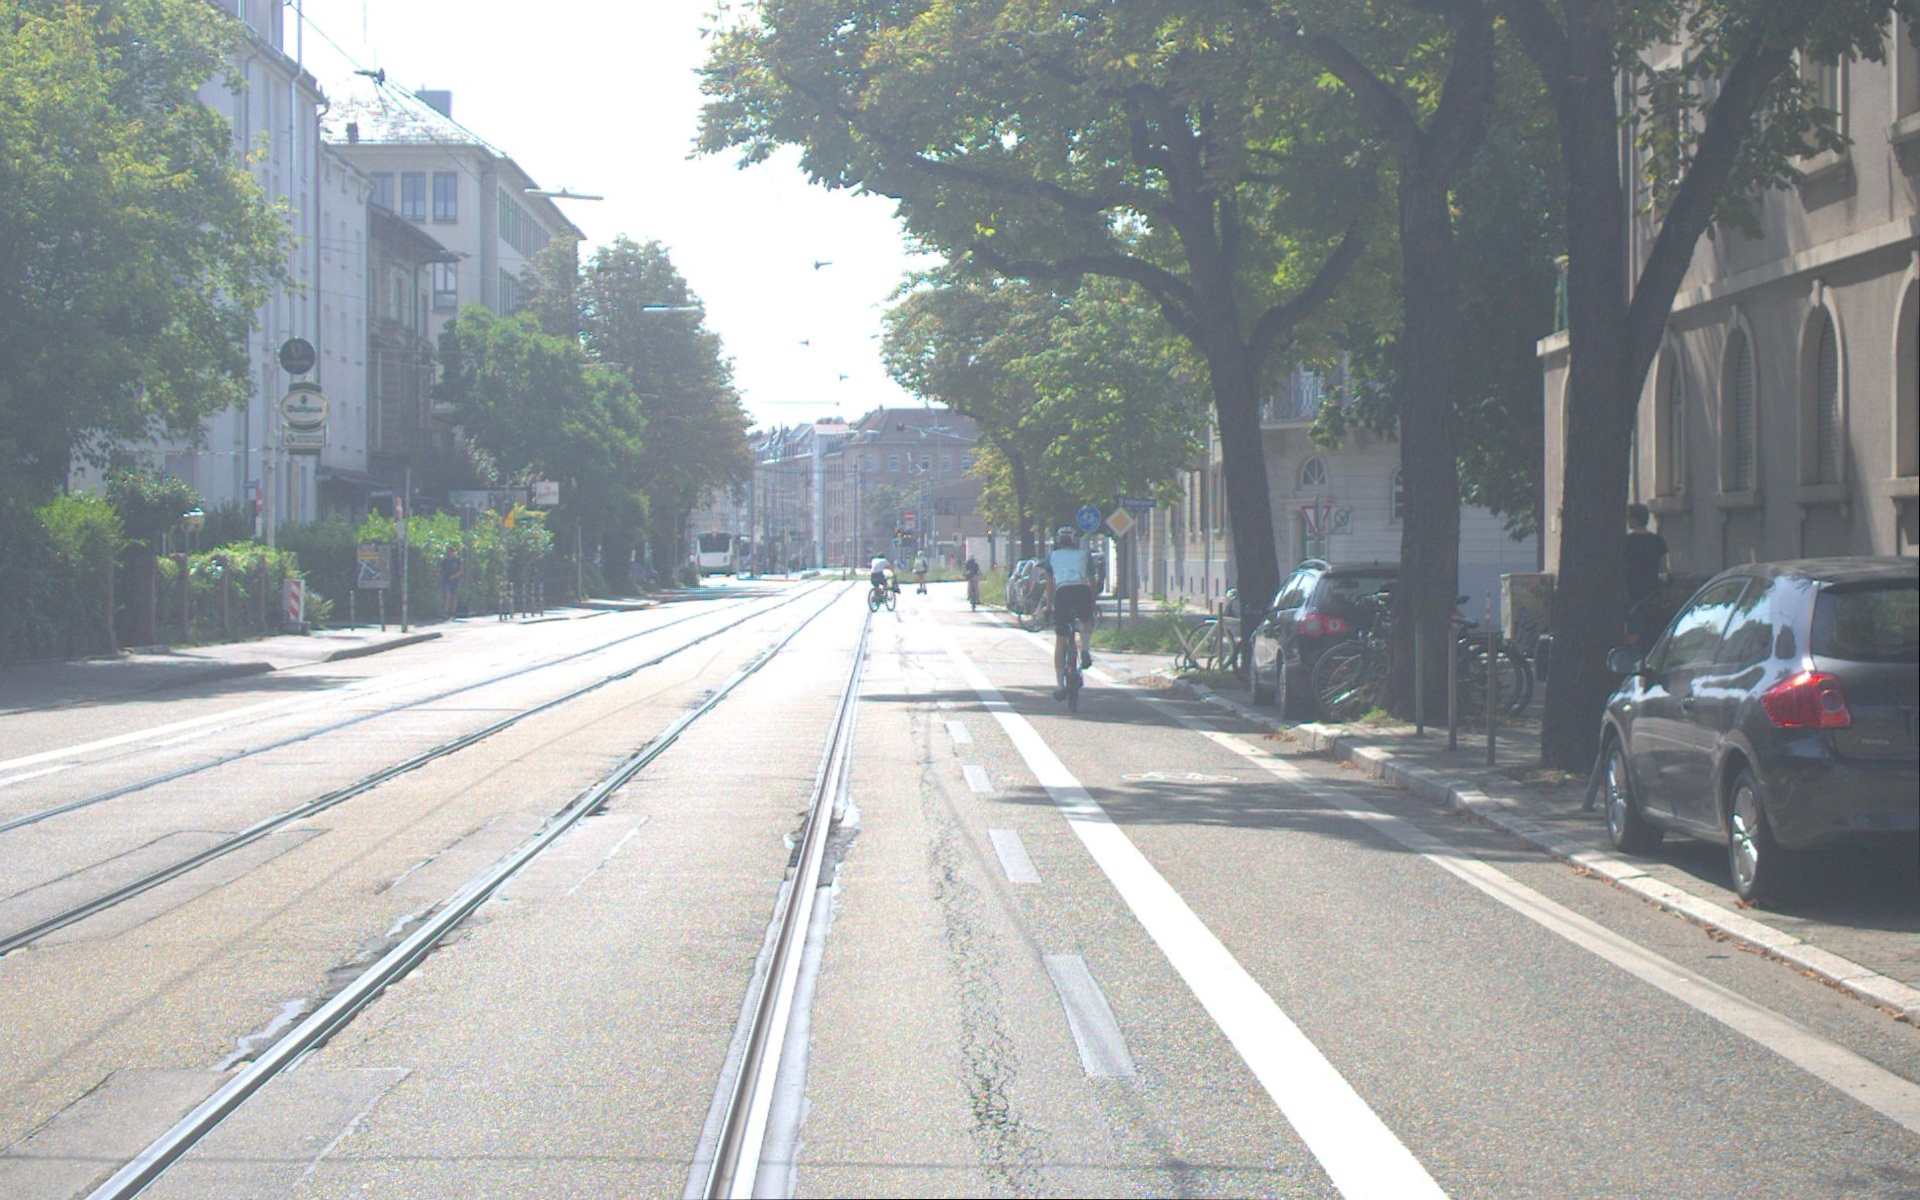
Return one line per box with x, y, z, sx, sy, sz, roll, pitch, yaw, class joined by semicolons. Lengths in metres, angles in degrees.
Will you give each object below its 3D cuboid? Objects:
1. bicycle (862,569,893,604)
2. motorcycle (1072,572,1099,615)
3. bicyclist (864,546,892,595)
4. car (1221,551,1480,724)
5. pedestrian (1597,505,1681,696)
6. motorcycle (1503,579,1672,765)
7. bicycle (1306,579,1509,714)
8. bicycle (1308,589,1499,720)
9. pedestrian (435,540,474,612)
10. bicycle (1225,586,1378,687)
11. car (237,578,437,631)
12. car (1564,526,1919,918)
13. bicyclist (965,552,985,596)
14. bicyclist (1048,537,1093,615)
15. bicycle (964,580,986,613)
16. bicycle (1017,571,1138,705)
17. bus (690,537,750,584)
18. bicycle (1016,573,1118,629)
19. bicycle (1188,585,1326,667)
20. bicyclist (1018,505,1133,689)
-2.345;-0.389;97.870;0.758;0.987;2.298;0;1;1;bicycle
3.144;-0.169;85.921;0.549;1.064;2.330;0;1;-1;motorcycle
-2.344;-0.850;97.935;0.758;1.387;0.779;0;0;1;bicyclist
3.756;0.308;33.839;1.840;1.527;4.780;-1;1;-2;car
6.791;0.001;34.413;0.706;1.885;0.714;0;0;0;pedestrian
4.479;0.487;24.686;0.710;1.251;2.177;0;1;-3;motorcycle
3.877;0.395;29.851;1.723;1.145;0.377;0;1;6;bicycle
3.794;0.461;29.463;1.606;1.100;0.398;0;1;6;bicycle
-12.439;-0.589;84.604;0.779;1.750;1.040;-1;0;-1;pedestrian
3.871;0.407;38.968;1.723;1.133;0.377;0;1;6;bicycle
-14.787;0.105;81.668;4.234;1.180;1.998;-1;0;19;car
4.209;0.464;16.384;1.840;1.527;4.116;0;3;-2;car
0.436;-0.765;99.897;0.579;1.274;0.471;0;0;1;bicyclist
2.307;-0.507;72.016;0.824;1.637;0.785;0;1;11;bicyclist
0.442;-0.111;99.990;0.588;0.936;2.172;0;1;1;bicycle
1.164;0.359;34.786;1.148;1.265;2.712;0;1;0;bicycle
-17.492;-2.874;251.354;3.735;3.352;15.120;0;1;-2;bus
2.251;0.023;72.037;2.035;1.147;0.785;0;1;11;bicycle
3.788;0.333;43.866;1.713;1.028;0.566;0;1;0;bicycle
1.155;-0.038;34.717;1.125;1.830;0.956;0;0;0;bicyclist
